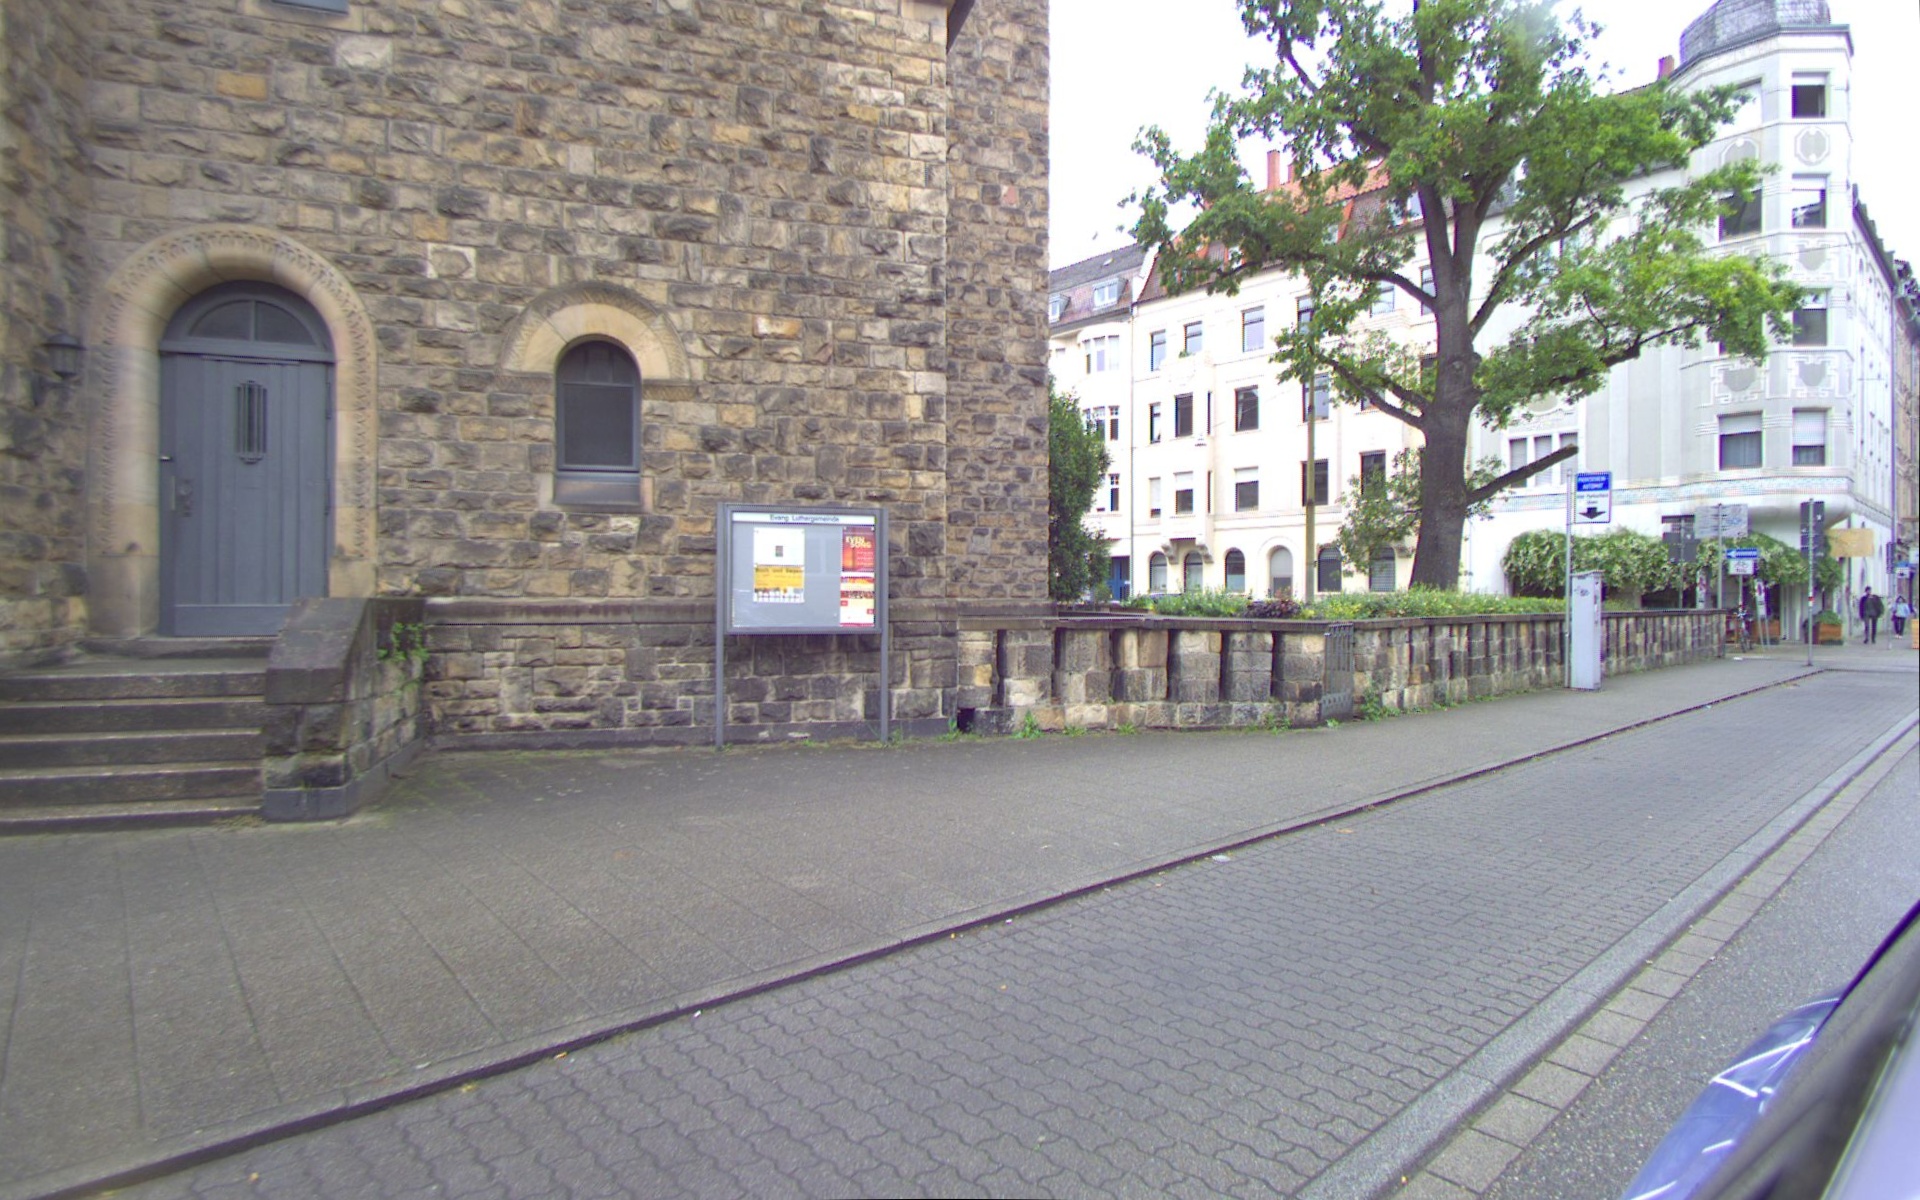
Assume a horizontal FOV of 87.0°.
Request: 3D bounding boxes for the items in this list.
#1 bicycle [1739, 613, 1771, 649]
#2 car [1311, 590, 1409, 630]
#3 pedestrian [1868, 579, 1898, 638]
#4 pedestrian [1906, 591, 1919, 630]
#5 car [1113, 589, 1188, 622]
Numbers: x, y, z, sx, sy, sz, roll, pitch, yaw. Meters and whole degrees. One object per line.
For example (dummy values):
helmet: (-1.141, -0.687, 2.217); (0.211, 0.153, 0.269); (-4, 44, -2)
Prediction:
bicycle: (23.321, 0.895, 29.686); (1.990, 0.904, 0.390); (-3, 3, -42)
car: (15.456, 0.354, 39.216); (1.421, 1.427, 3.271); (0, 1, -38)
pedestrian: (30.201, 0.279, 33.108); (0.681, 1.896, 0.645); (0, 0, -41)
pedestrian: (36.777, 0.416, 38.959); (0.385, 1.479, 0.481); (0, 0, -41)
car: (8.697, 0.243, 46.349); (1.421, 1.427, 3.271); (0, 1, -38)
